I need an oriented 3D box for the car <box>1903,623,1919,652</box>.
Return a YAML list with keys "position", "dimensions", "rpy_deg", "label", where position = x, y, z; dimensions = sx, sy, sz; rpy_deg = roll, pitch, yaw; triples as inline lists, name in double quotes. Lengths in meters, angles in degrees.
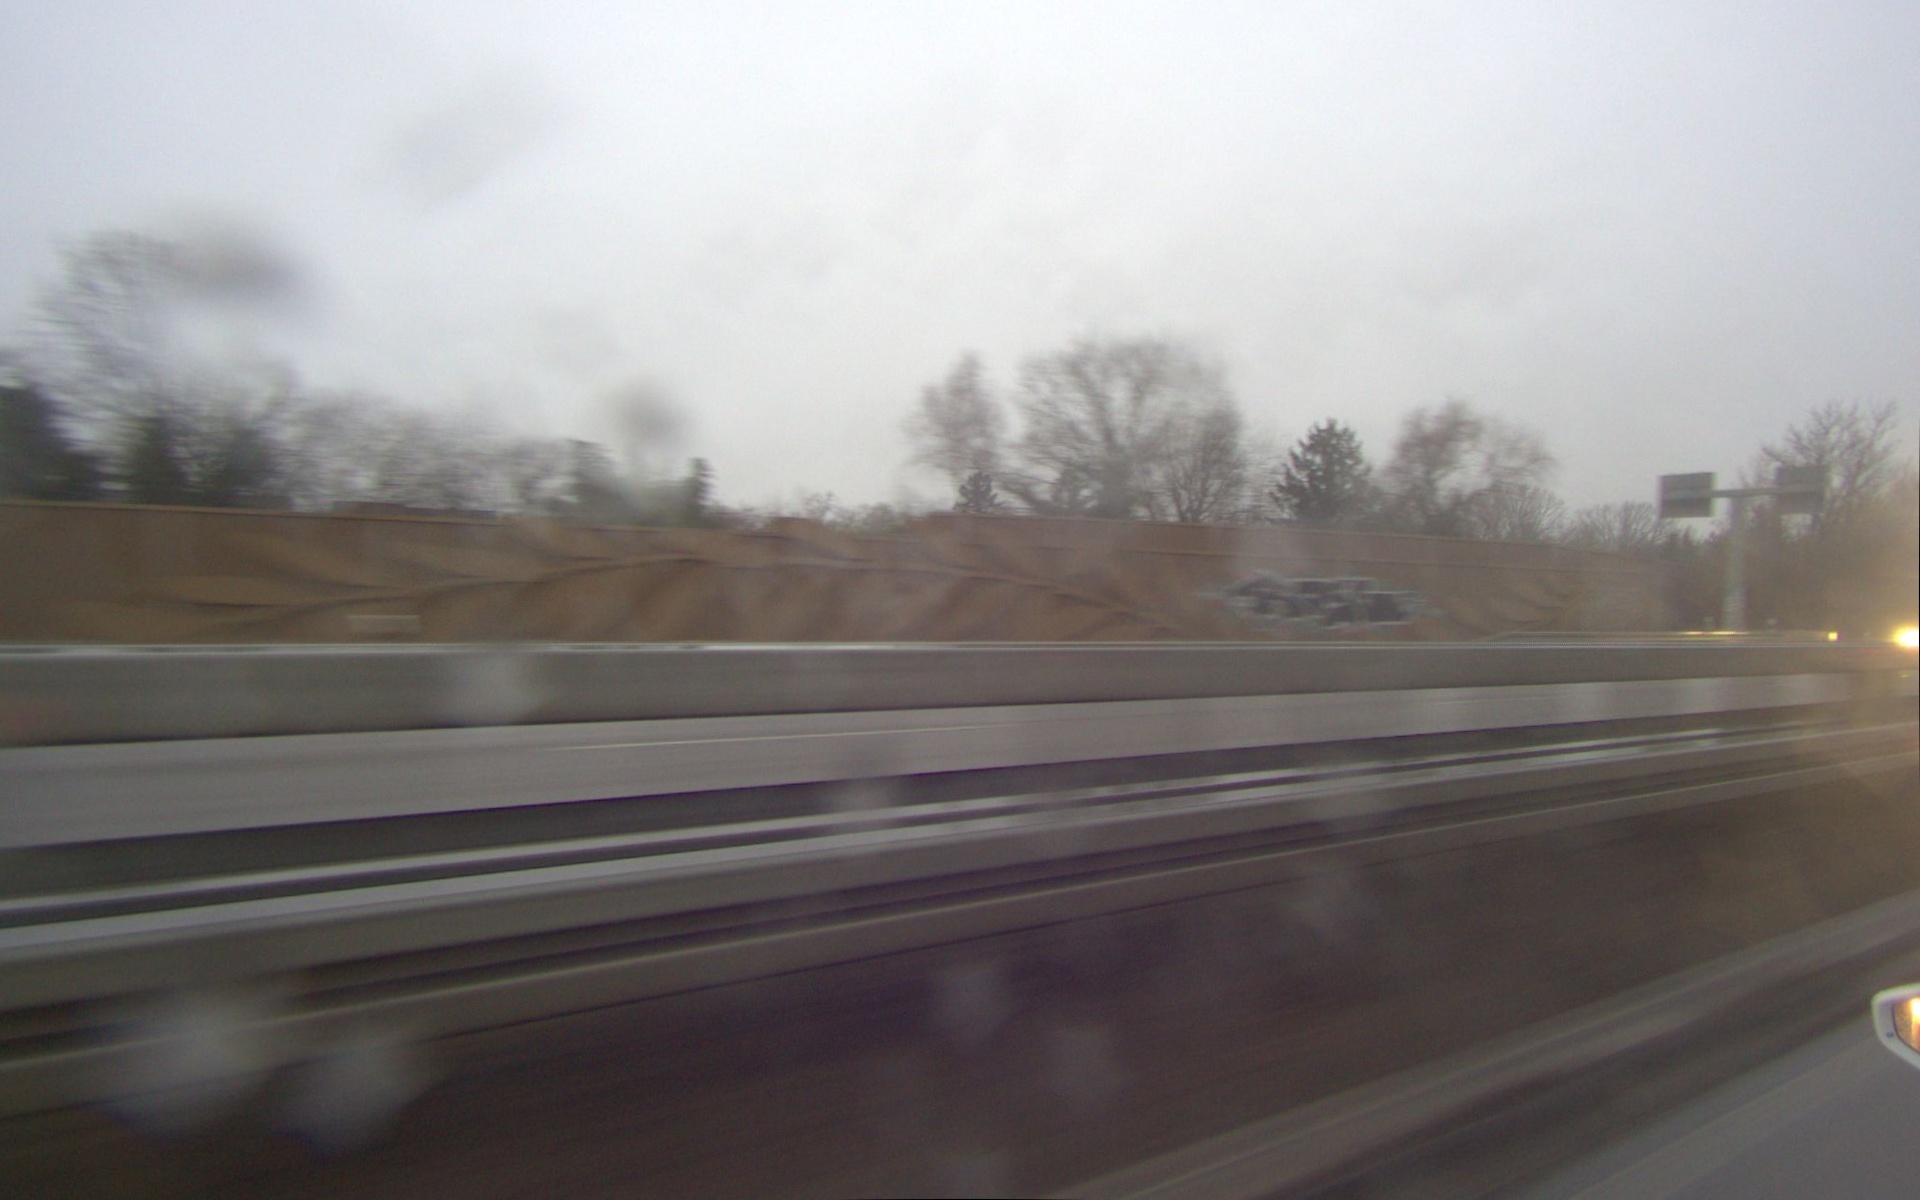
- position: [55.125, 2.129, 56.593]
  dimensions: [4.306, 1.576, 1.827]
  rpy_deg: [2, 0, -32]
  label: "car"
